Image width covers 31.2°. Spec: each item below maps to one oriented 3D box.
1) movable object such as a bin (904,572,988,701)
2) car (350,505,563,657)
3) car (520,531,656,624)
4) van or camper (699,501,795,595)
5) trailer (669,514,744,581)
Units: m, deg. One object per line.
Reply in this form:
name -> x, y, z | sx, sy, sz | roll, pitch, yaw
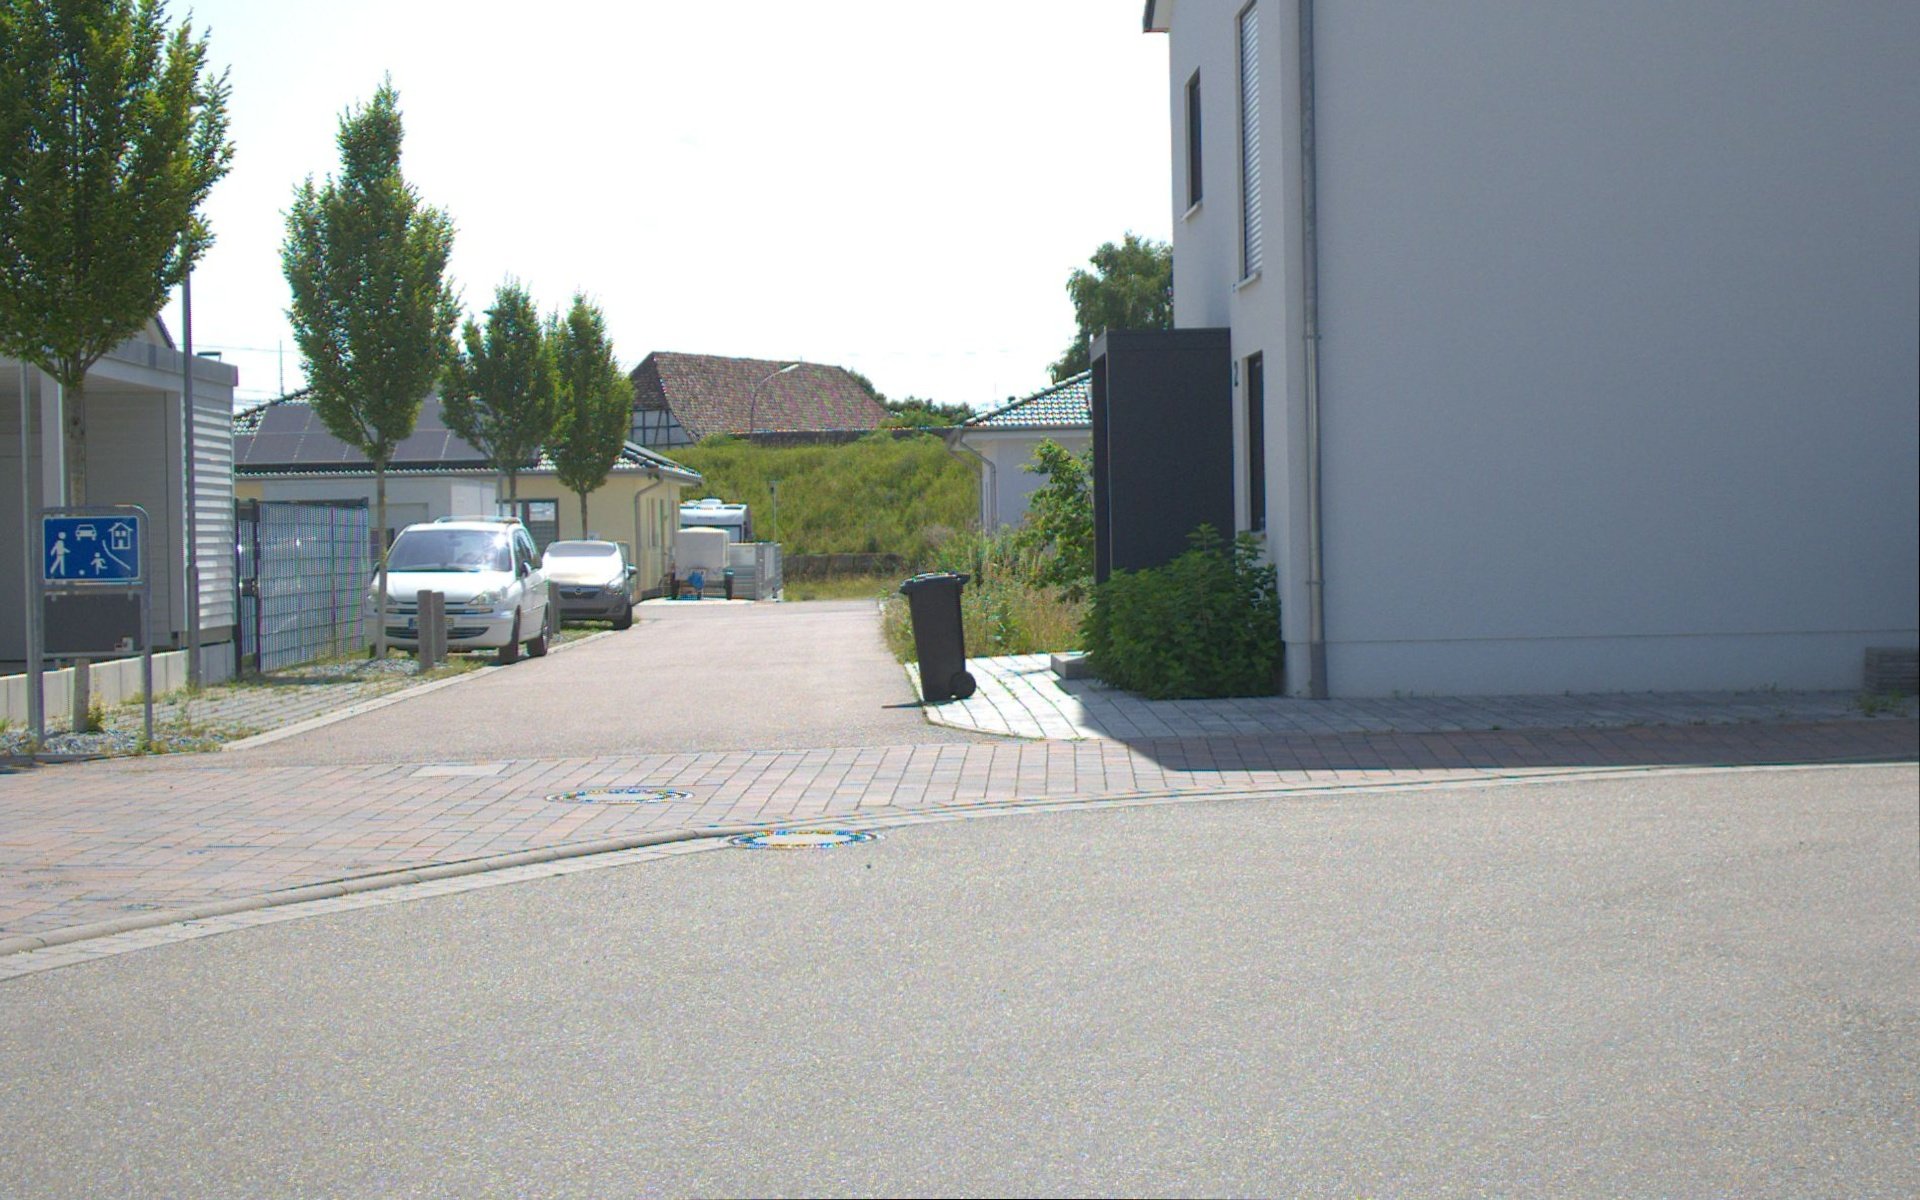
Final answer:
movable object such as a bin -> -0.111, 0.274, 26.297 | 0.599, 0.945, 0.501 | -2, 1, -1
car -> -6.229, -0.251, 43.045 | 1.993, 1.783, 4.647 | 1, 1, 0
car -> -6.715, -0.421, 62.490 | 1.993, 1.608, 4.484 | 1, 1, 0
van or camper -> -5.609, -1.378, 91.204 | 2.263, 2.402, 4.845 | 1, 1, -1
trailer -> -6.173, -1.278, 83.827 | 1.627, 1.608, 2.561 | 1, 1, 0
